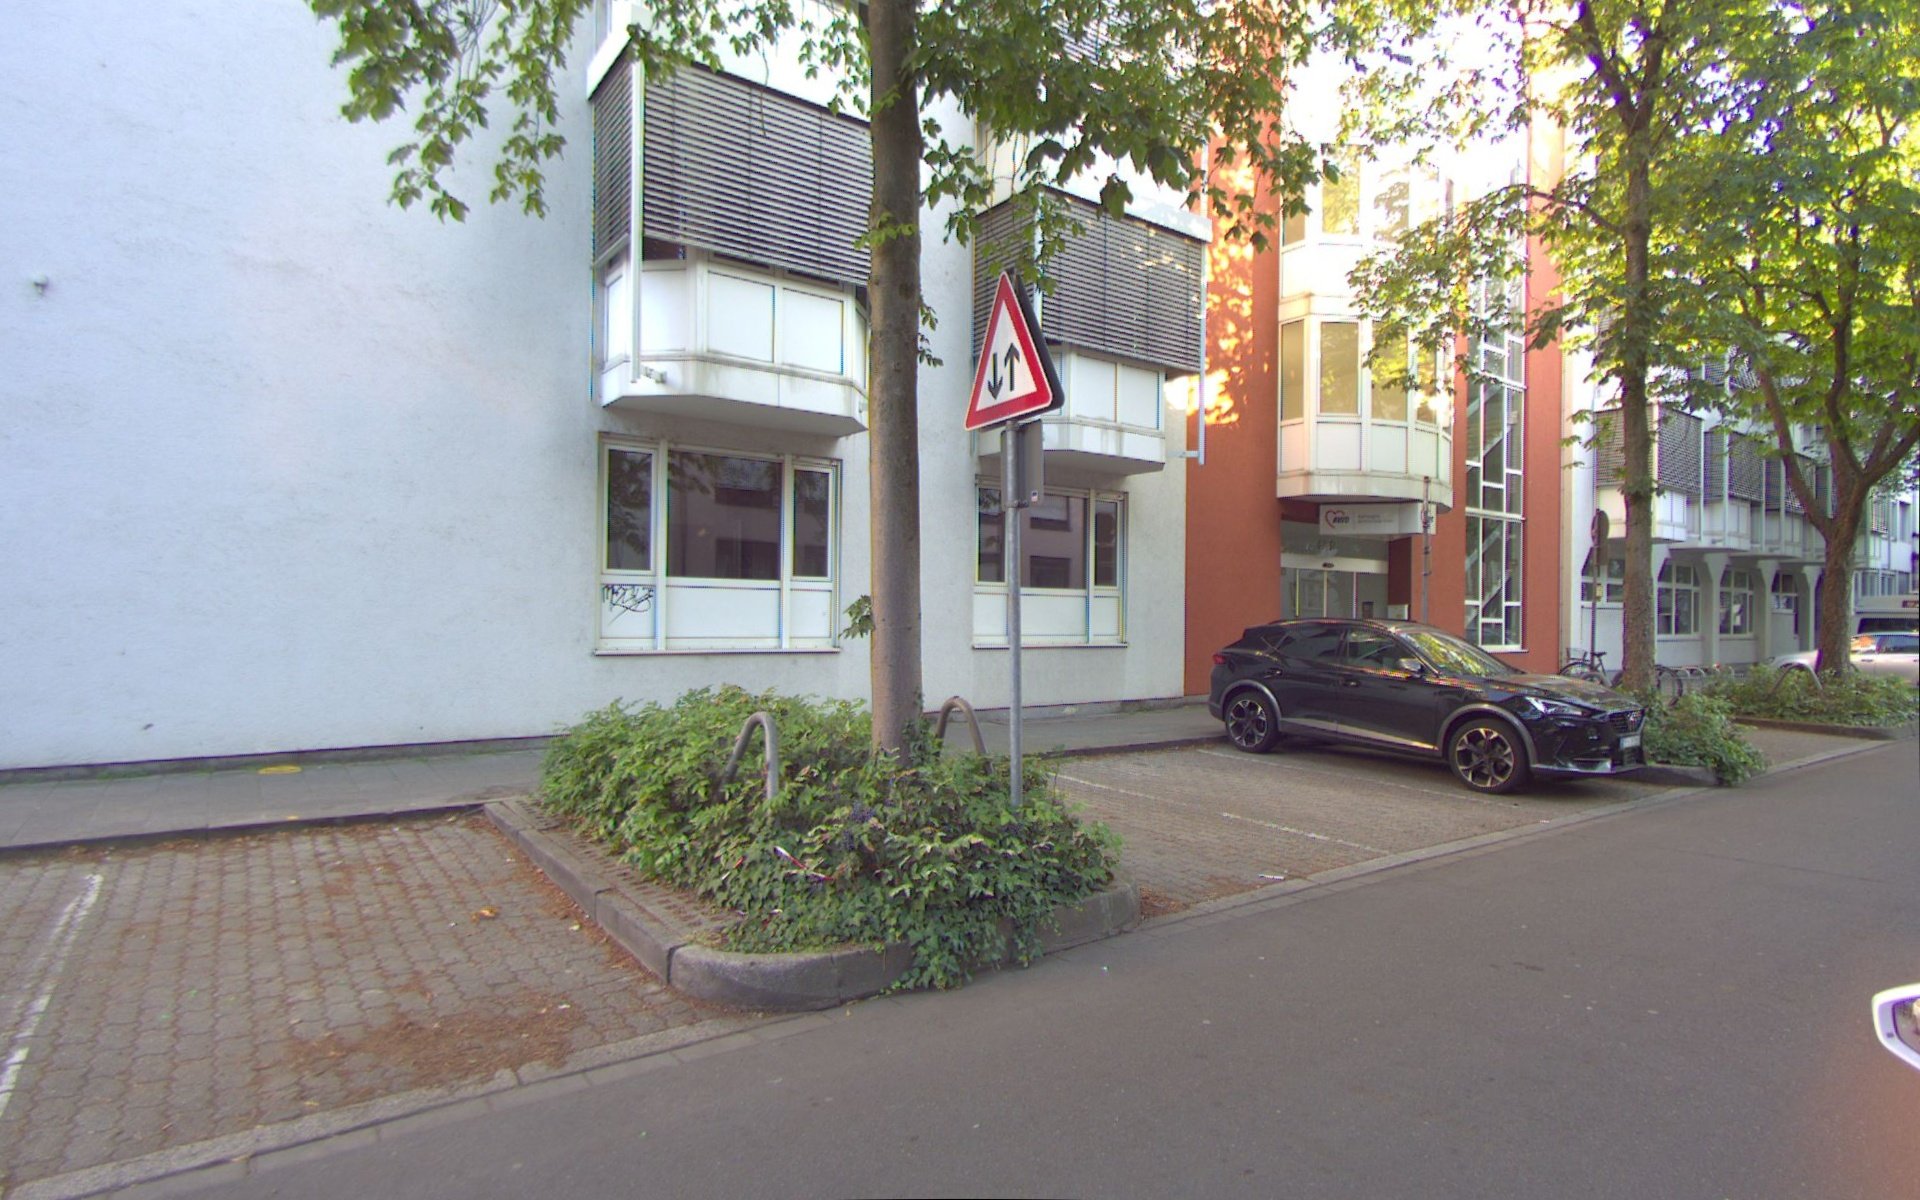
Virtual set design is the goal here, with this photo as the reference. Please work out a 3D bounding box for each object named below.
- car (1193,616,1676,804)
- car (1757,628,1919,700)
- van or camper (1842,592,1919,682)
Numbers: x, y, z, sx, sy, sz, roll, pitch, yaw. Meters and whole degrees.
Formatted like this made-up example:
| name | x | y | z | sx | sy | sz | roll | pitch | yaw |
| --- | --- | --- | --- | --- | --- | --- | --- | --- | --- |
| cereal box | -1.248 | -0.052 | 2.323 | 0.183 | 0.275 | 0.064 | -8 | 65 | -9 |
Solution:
| name | x | y | z | sx | sy | sz | roll | pitch | yaw |
| --- | --- | --- | --- | --- | --- | --- | --- | --- | --- |
| car | 4.717 | 0.958 | 10.611 | 1.768 | 1.537 | 4.325 | 1 | -1 | -35 |
| car | 21.161 | 1.445 | 23.238 | 1.767 | 1.537 | 3.942 | 1 | -1 | -35 |
| van or camper | 27.901 | 1.037 | 28.039 | 1.981 | 2.511 | 4.632 | 1 | -1 | -36 |
